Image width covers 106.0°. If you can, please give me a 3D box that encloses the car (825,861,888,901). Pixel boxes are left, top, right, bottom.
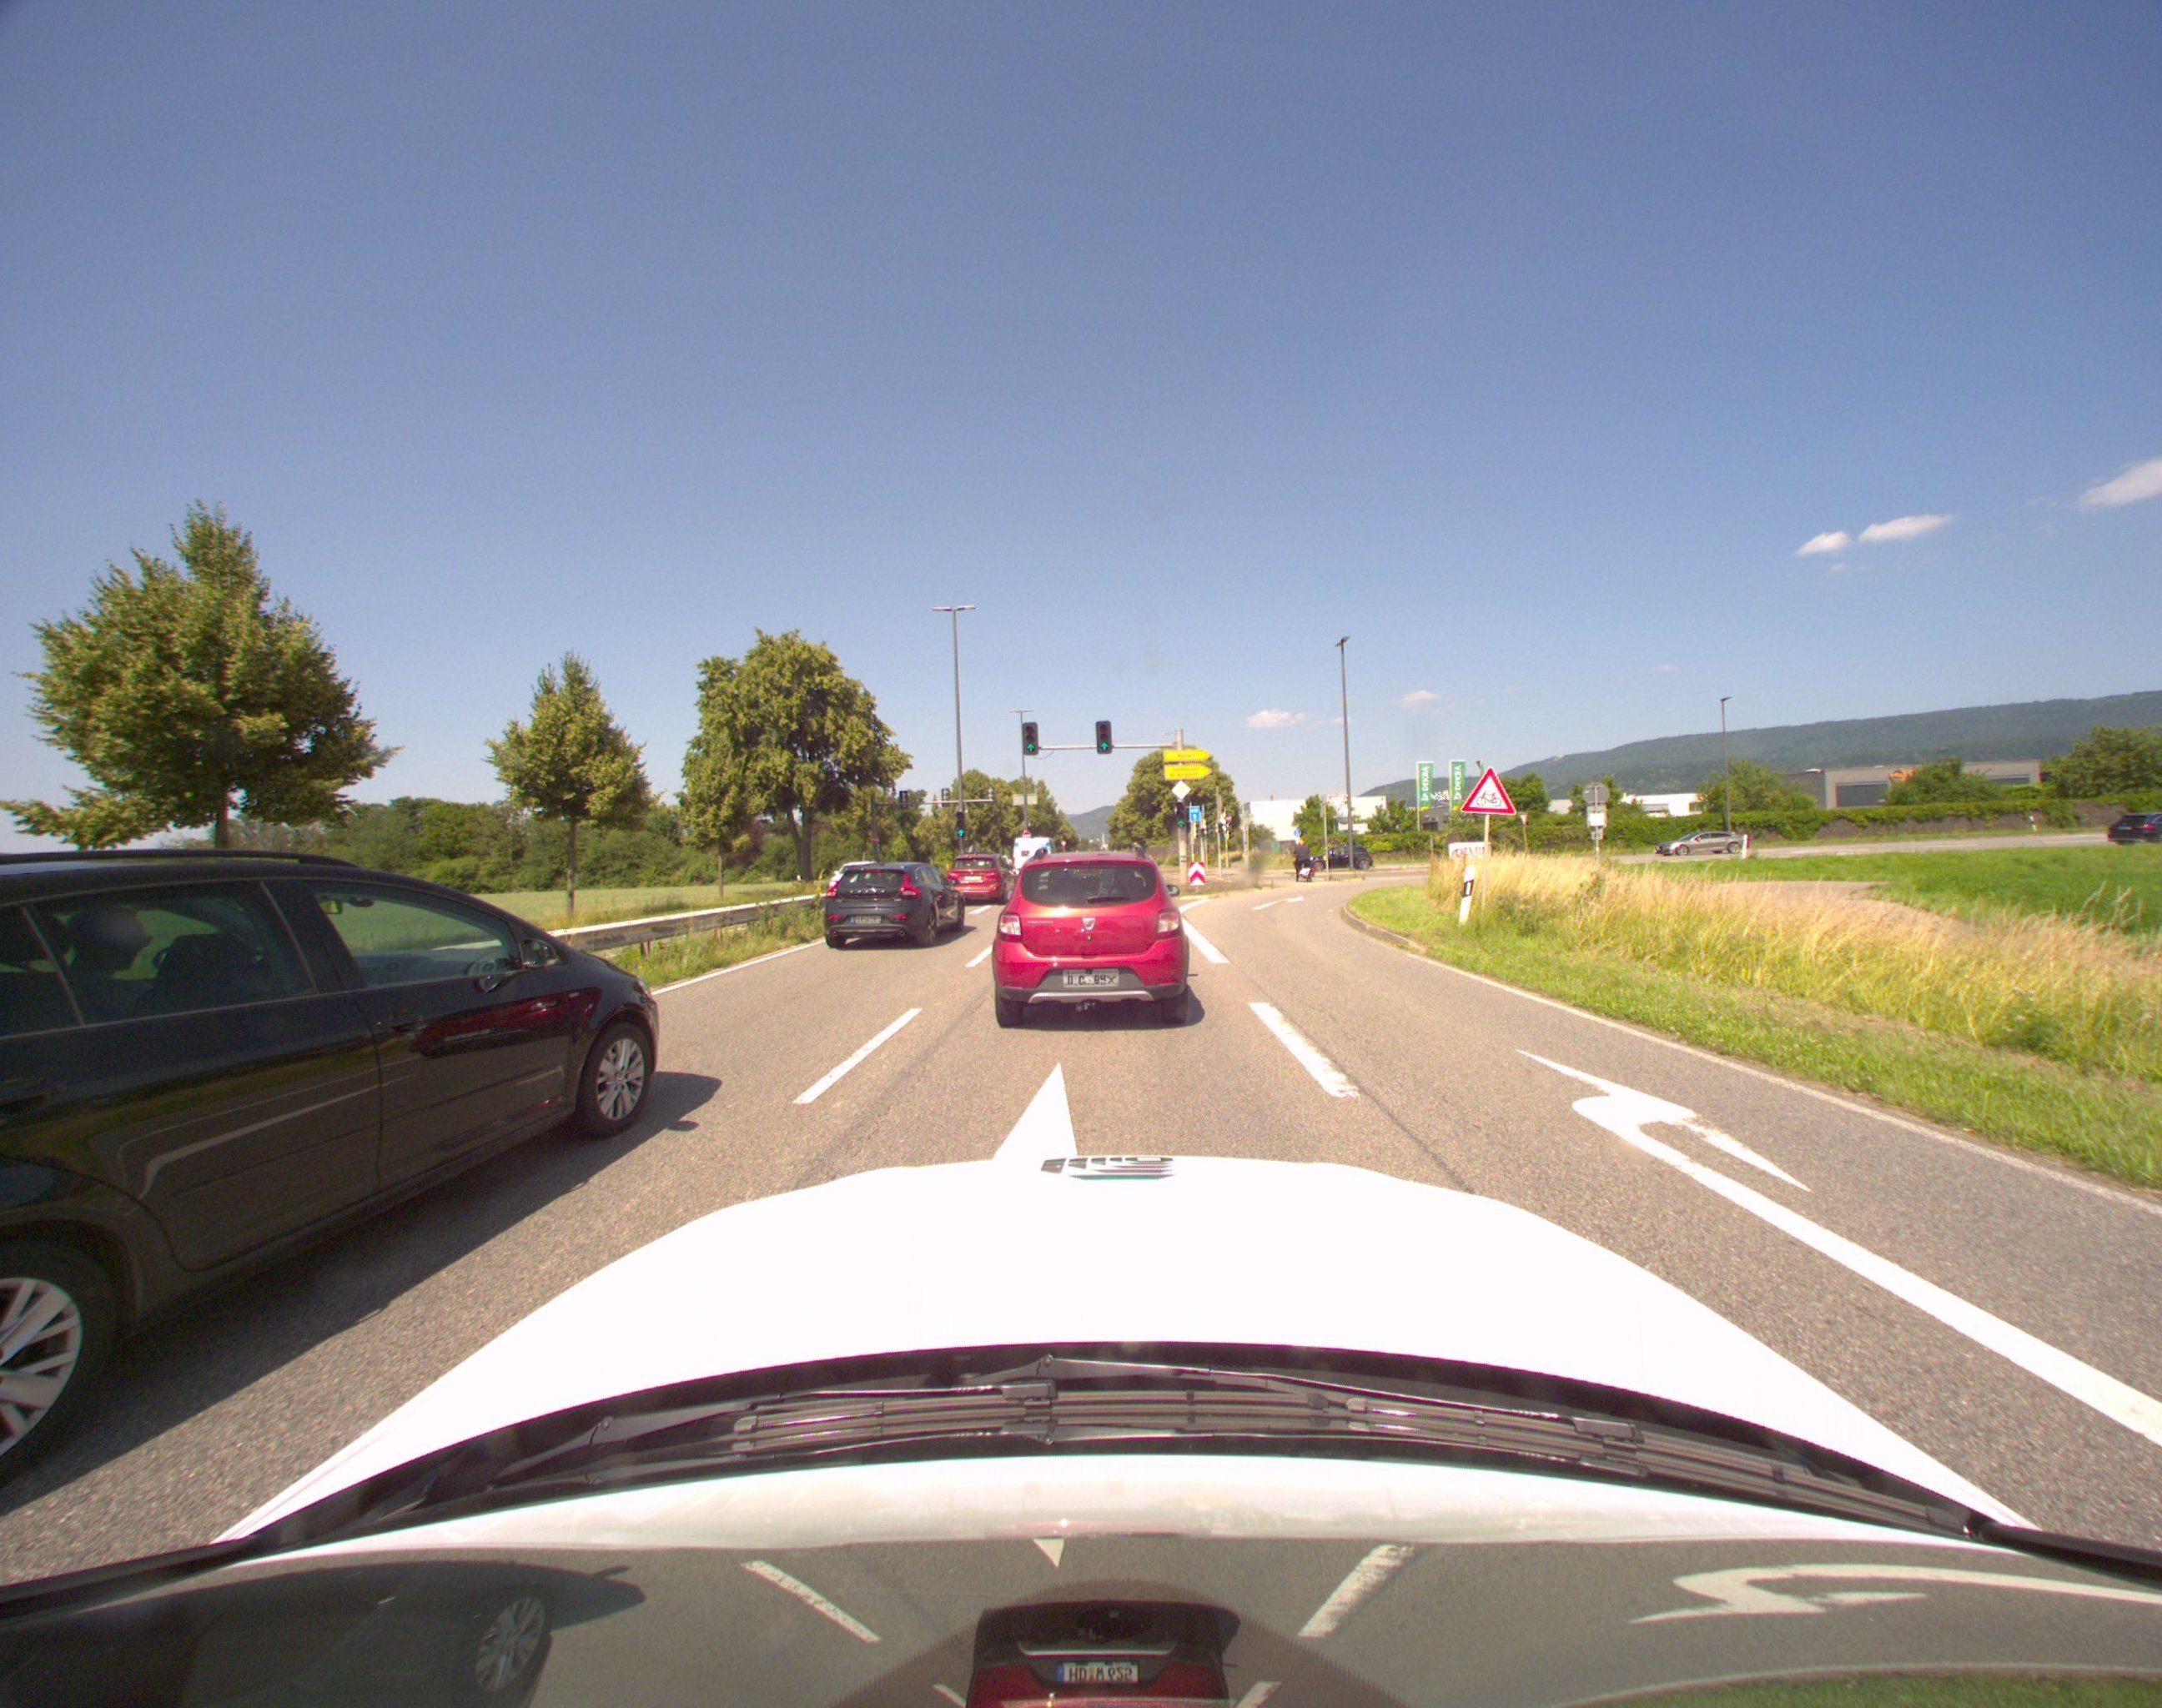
[{"bbox_3d":[-10.165,1.160,37.162,1.740,1.618,4.134,-2,0,-1],"label":"car"}]

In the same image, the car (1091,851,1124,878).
[{"bbox_3d":[1.567,0.589,47.351,1.742,1.458,3.680,-1,0,3],"label":"car"}]

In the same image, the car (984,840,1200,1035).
[{"bbox_3d":[0.197,0.687,8.532,1.742,1.575,3.680,-1,0,3],"label":"car"}]

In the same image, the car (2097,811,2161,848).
[{"bbox_3d":[51.262,-1.202,38.131,4.296,1.616,2.007,-2,0,12],"label":"car"}]

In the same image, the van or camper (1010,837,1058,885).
[{"bbox_3d":[-2.313,0.341,41.678,2.172,2.303,4.825,-1,0,-1],"label":"van or camper"}]

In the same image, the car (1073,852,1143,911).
[{"bbox_3d":[0.800,0.697,22.630,1.742,1.458,3.680,-1,0,3],"label":"car"}]

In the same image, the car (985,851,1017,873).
[{"bbox_3d":[-6.366,0.608,65.386,1.986,1.670,4.001,-2,0,1],"label":"car"}]

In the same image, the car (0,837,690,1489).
[{"bbox_3d":[-3.427,0.754,3.220,1.716,1.575,3.895,-1,0,2],"label":"car"}]

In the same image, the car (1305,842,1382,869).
[{"bbox_3d":[14.739,0.091,45.899,3.960,1.327,1.812,-2,0,12],"label":"car"}]

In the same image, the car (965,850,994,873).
[{"bbox_3d":[-9.428,0.685,76.214,1.987,1.980,5.016,-2,0,0],"label":"car"}]

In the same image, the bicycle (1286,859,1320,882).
[{"bbox_3d":[9.601,0.705,35.315,0.759,0.915,2.780,-2,0,1],"label":"bicycle"}]

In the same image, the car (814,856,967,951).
[{"bbox_3d":[-3.293,0.789,14.896,1.695,1.442,3.958,-1,1,2],"label":"car"}]

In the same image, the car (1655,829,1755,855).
[{"bbox_3d":[37.139,-0.688,48.555,4.334,1.327,1.813,-3,0,12],"label":"car"}]

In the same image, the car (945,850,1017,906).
[{"bbox_3d":[-3.082,0.694,25.782,1.718,1.600,3.955,-2,0,0],"label":"car"}]

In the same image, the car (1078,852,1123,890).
[{"bbox_3d":[0.888,0.686,34.726,1.742,1.458,3.680,-1,0,3],"label":"car"}]

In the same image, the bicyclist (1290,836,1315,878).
[{"bbox_3d":[9.573,0.134,35.220,0.799,1.771,0.809,-2,0,0],"label":"bicyclist"}]
